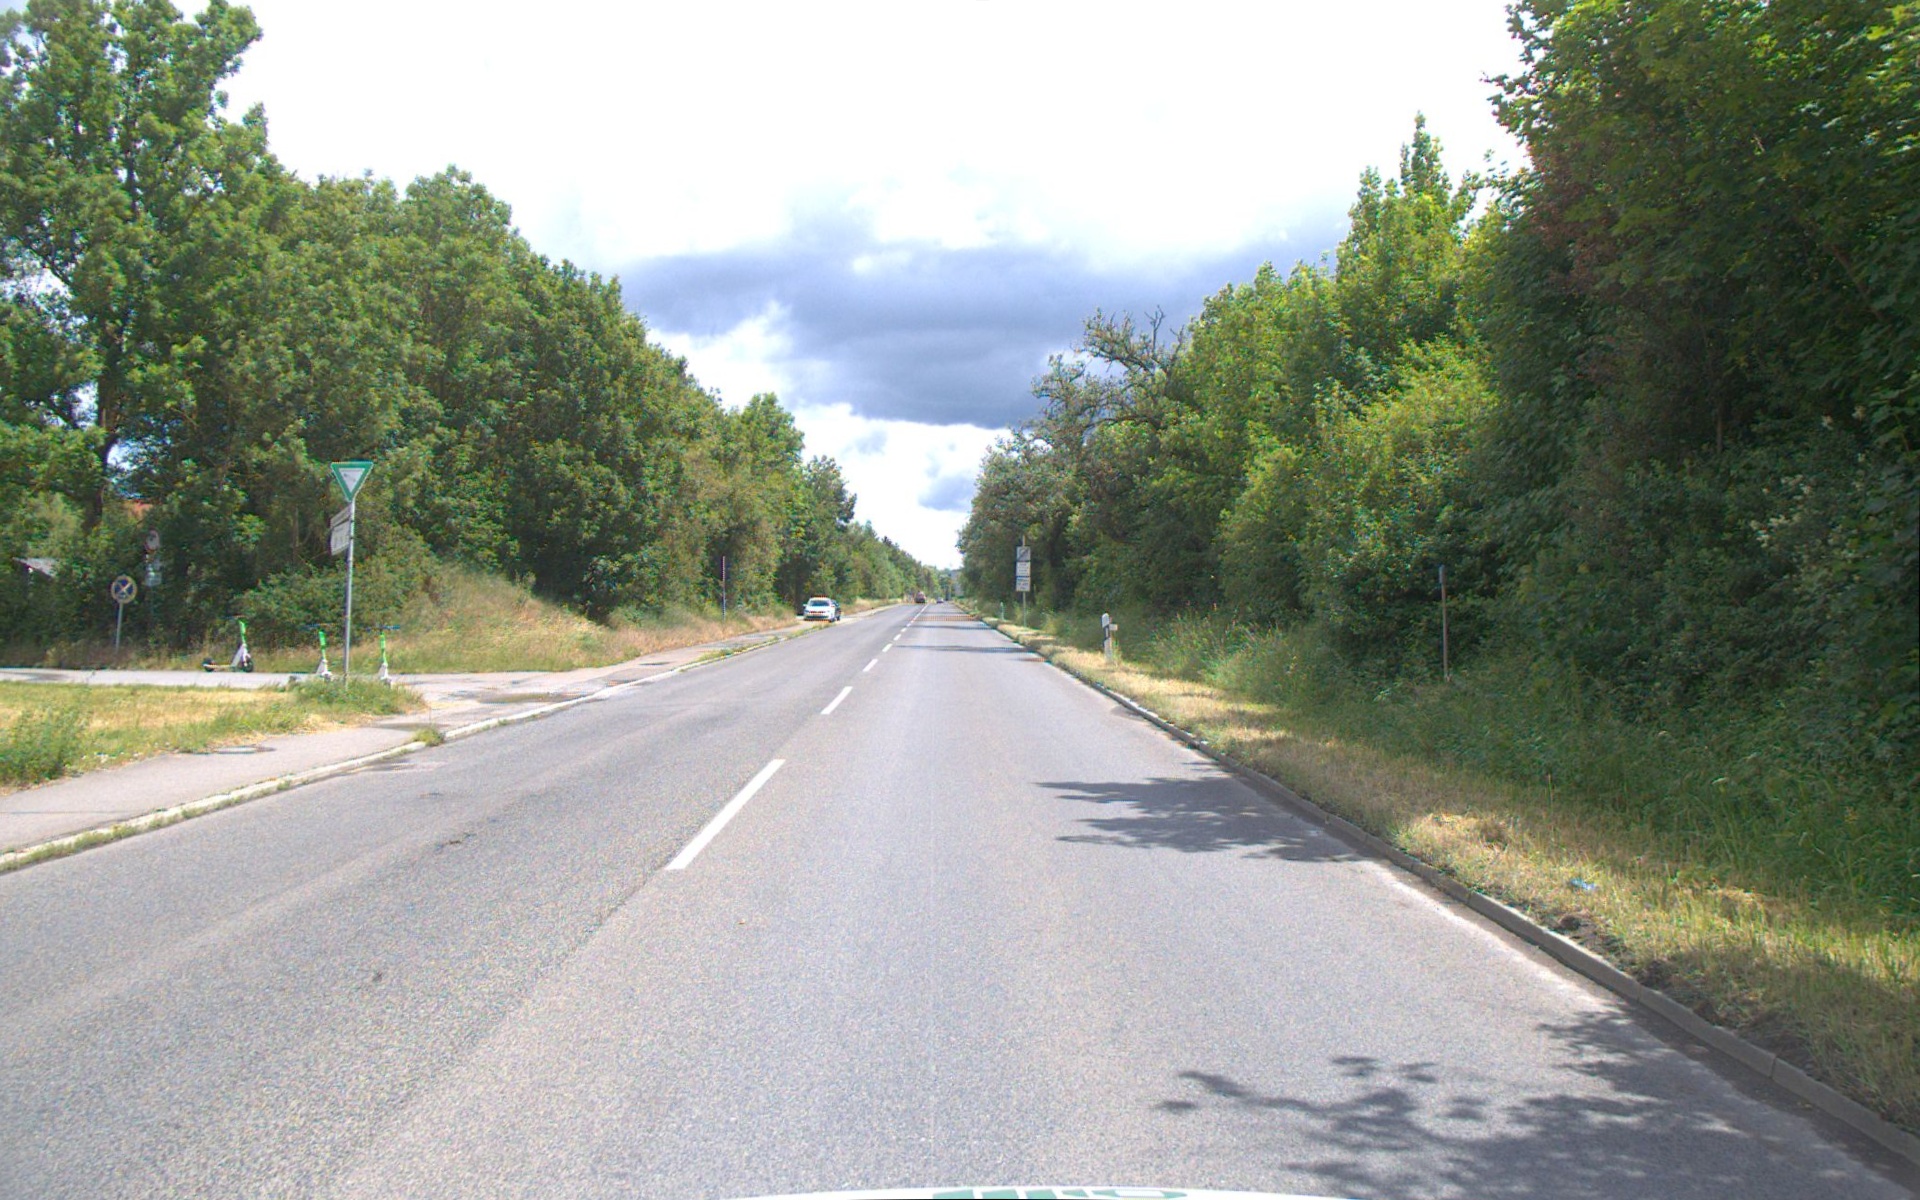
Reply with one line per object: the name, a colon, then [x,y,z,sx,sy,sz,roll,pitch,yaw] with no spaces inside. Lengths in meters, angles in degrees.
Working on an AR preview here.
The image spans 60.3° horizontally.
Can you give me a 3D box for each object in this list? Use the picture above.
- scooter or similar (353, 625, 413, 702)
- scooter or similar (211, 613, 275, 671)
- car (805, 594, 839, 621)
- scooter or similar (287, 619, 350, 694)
scooter or similar: [-9.379,1.023,26.863,0.404,1.189,1.329,0,0,-44]
scooter or similar: [-14.954,0.865,34.492,1.217,1.189,0.407,0,0,12]
car: [-8.523,0.487,102.330,1.761,1.570,3.954,-1,-1,-1]
scooter or similar: [-10.668,0.931,27.501,1.326,1.189,0.405,0,0,40]
